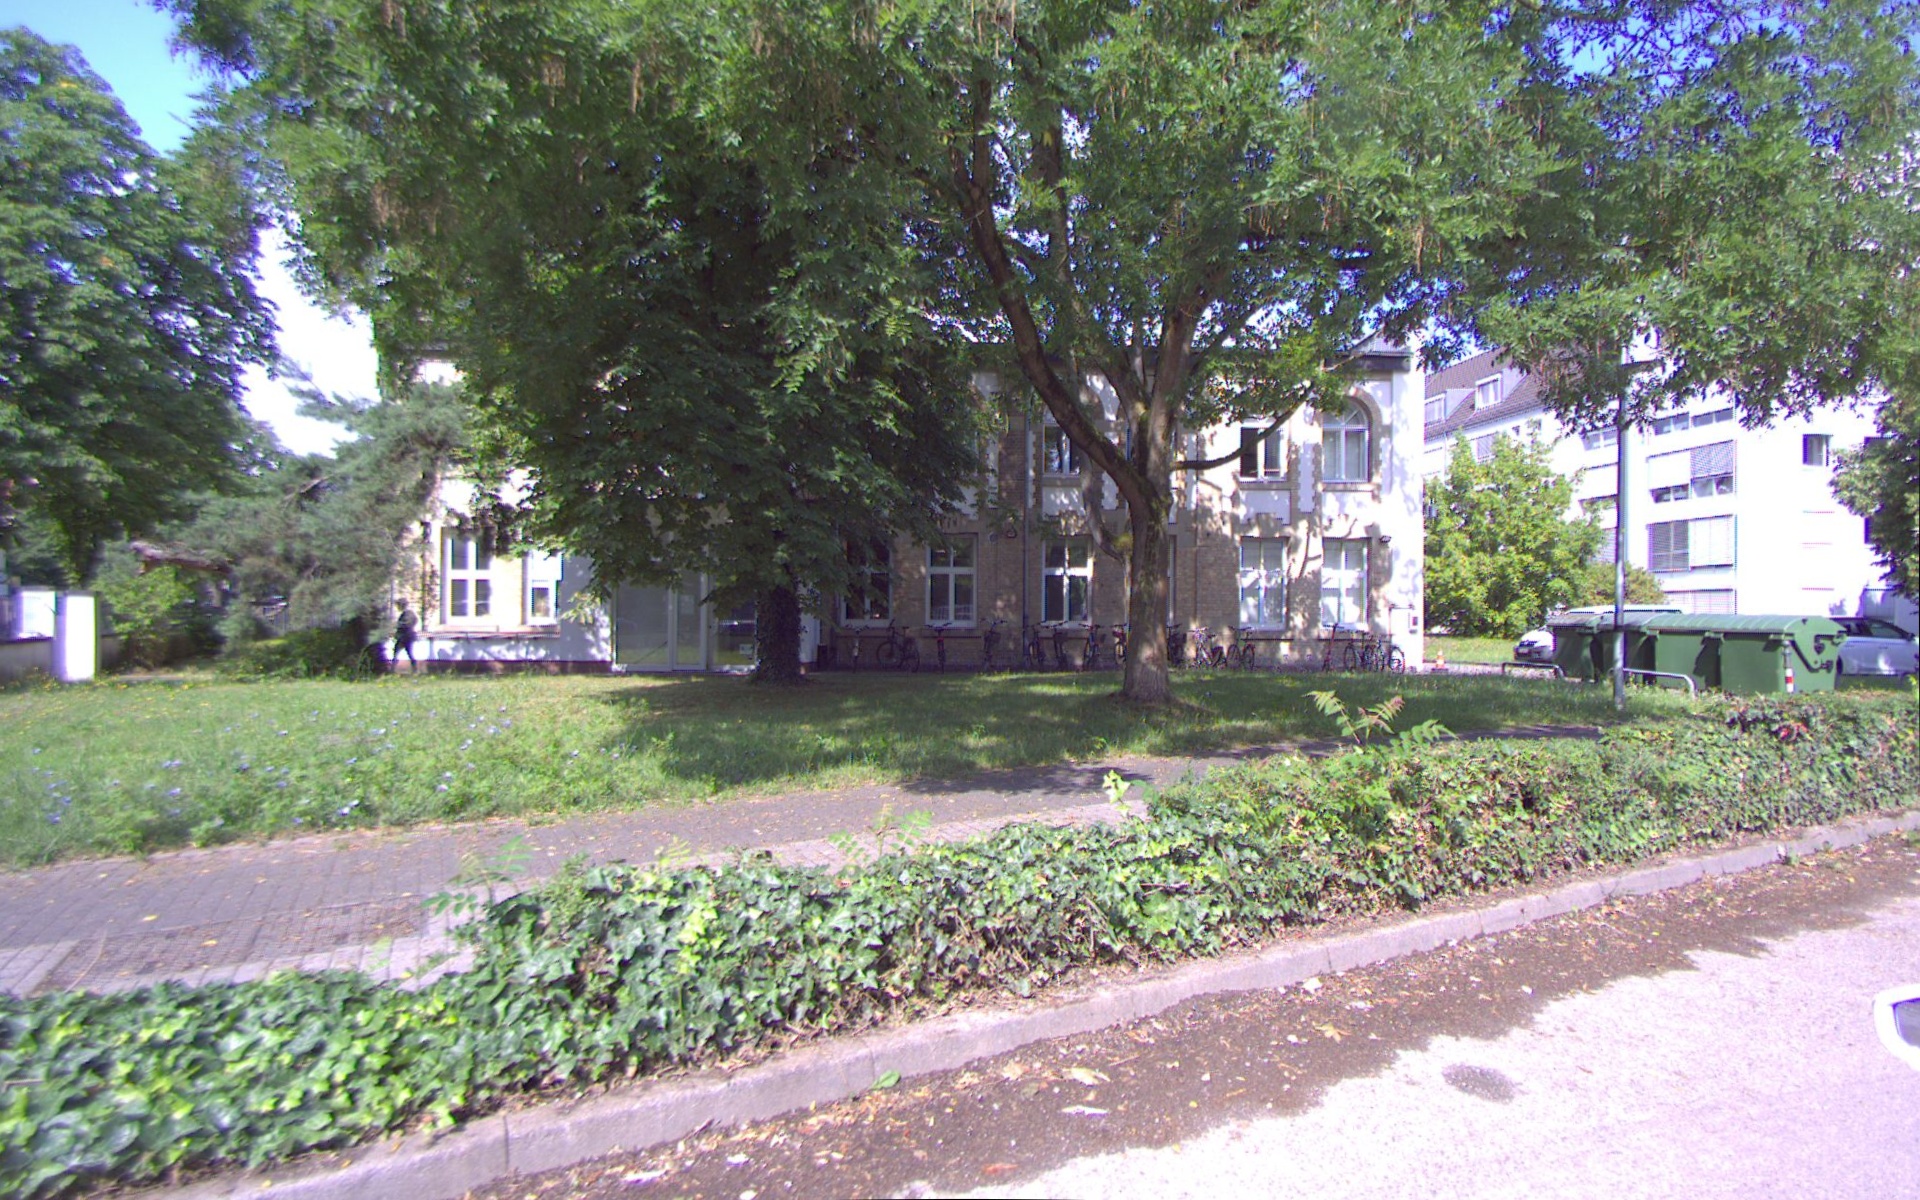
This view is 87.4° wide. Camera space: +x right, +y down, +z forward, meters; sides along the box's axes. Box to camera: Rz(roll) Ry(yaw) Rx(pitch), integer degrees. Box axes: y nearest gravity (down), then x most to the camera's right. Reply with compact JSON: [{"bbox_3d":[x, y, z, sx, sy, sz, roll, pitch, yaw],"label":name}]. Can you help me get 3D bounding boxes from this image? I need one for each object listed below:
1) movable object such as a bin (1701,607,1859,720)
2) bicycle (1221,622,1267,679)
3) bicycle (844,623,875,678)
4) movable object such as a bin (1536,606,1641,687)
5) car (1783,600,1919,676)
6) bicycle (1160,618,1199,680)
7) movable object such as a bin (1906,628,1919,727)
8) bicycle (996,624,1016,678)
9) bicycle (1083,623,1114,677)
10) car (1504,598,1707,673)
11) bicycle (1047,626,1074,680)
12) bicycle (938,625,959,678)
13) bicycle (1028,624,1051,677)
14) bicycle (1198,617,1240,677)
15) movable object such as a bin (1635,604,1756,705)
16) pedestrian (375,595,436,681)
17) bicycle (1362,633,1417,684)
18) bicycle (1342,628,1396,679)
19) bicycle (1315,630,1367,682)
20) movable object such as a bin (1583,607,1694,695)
[{"bbox_3d":[12.158,0.916,14.948,1.083,1.471,1.340,4,2,-10],"label":"movable object such as a bin"},{"bbox_3d":[6.612,1.162,23.494,0.351,1.158,1.858,4,2,-3],"label":"bicycle"},{"bbox_3d":[-2.226,1.101,22.417,0.411,1.070,2.067,1,1,2],"label":"bicycle"},{"bbox_3d":[11.959,0.861,19.158,0.929,1.367,1.379,4,2,-9],"label":"movable object such as a bin"},{"bbox_3d":[19.834,0.808,21.010,3.841,1.439,1.758,2,1,-3],"label":"car"},{"bbox_3d":[5.046,1.093,23.214,0.411,1.138,2.066,4,5,2],"label":"bicycle"},{"bbox_3d":[11.813,0.823,11.218,1.225,1.502,1.296,6,5,17],"label":"movable object such as a bin"},{"bbox_3d":[1.041,1.149,23.041,0.411,1.070,2.067,1,1,2],"label":"bicycle"},{"bbox_3d":[3.212,1.139,23.413,0.411,1.070,2.067,4,2,2],"label":"bicycle"},{"bbox_3d":[19.598,1.056,30.650,4.858,1.990,2.000,3,-1,-1],"label":"car"},{"bbox_3d":[2.321,1.206,23.356,0.411,1.070,2.067,4,2,2],"label":"bicycle"},{"bbox_3d":[-0.266,1.155,22.868,0.314,1.051,1.858,4,1,-3],"label":"bicycle"},{"bbox_3d":[1.836,1.144,23.367,0.411,1.070,2.067,1,1,2],"label":"bicycle"},{"bbox_3d":[5.969,1.057,23.221,0.411,1.231,2.067,4,2,2],"label":"bicycle"},{"bbox_3d":[11.905,0.859,16.295,0.864,1.471,1.232,4,2,-8],"label":"movable object such as a bin"},{"bbox_3d":[-11.604,0.781,21.047,0.758,1.700,0.808,4,2,-3],"label":"pedestrian"},{"bbox_3d":[10.061,1.347,23.592,0.314,1.051,1.858,4,1,-3],"label":"bicycle"},{"bbox_3d":[9.570,1.228,23.568,0.314,1.051,1.858,4,1,-3],"label":"bicycle"},{"bbox_3d":[8.883,1.287,23.476,0.314,1.051,1.858,4,1,-3],"label":"bicycle"},{"bbox_3d":[11.870,0.873,17.619,0.929,1.367,1.232,4,2,-9],"label":"movable object such as a bin"}]
